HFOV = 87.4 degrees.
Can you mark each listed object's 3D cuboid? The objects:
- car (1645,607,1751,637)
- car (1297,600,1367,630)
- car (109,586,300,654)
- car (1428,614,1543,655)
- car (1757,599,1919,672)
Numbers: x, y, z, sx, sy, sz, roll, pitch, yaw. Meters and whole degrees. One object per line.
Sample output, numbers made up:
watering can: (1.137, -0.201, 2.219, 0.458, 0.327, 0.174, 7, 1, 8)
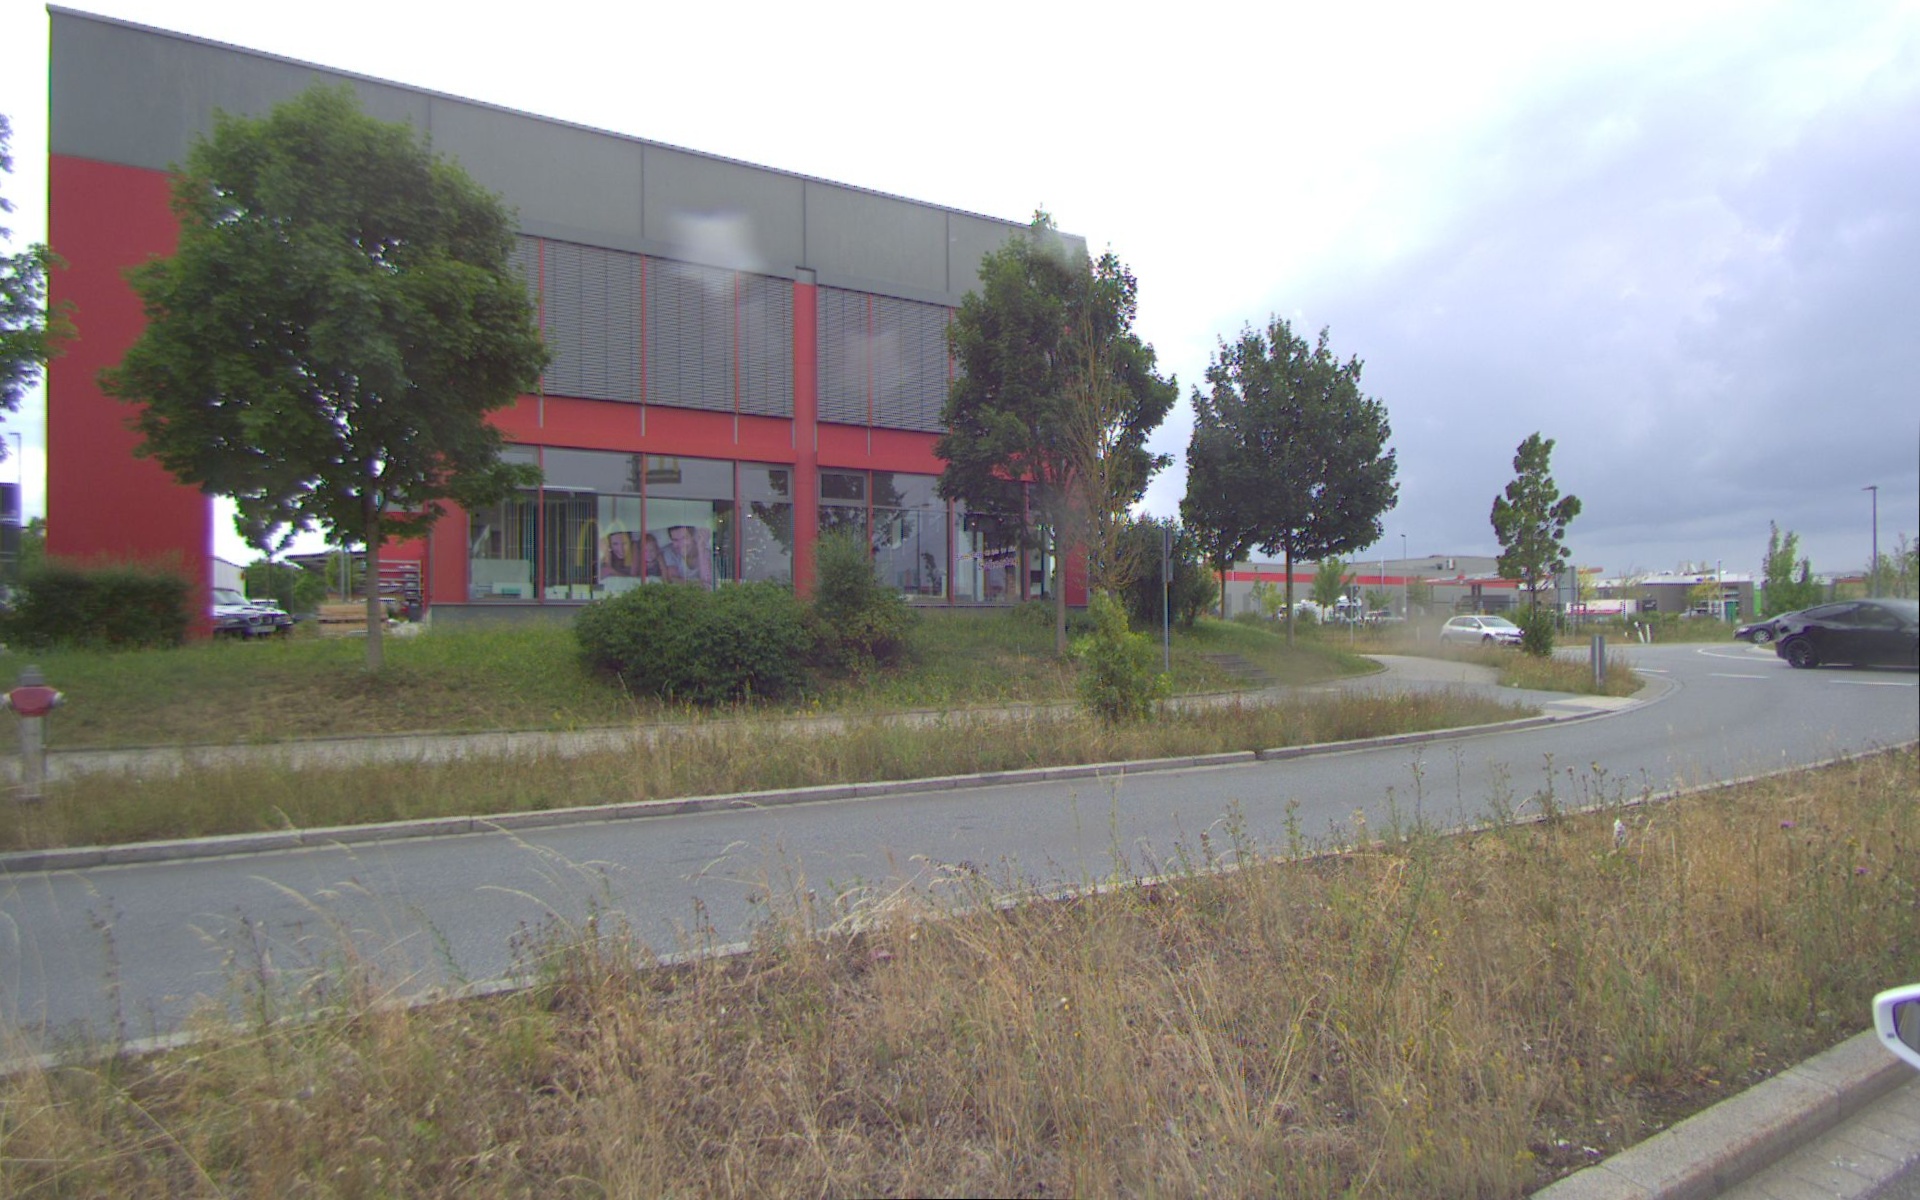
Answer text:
car: (33.850, 1.023, 46.199, 3.781, 1.342, 1.467, -1, -1, 32)
car: (37.355, 1.520, 100.866, 7.605, 2.857, 2.449, 2, 0, -32)
car: (-15.274, 0.412, 20.449, 2.817, 1.287, 1.257, 2, 0, -20)
car: (20.603, 1.358, 39.567, 1.783, 1.483, 3.990, -1, -2, -14)
car: (21.192, 0.761, 22.873, 1.908, 1.518, 4.770, -2, -1, -7)
